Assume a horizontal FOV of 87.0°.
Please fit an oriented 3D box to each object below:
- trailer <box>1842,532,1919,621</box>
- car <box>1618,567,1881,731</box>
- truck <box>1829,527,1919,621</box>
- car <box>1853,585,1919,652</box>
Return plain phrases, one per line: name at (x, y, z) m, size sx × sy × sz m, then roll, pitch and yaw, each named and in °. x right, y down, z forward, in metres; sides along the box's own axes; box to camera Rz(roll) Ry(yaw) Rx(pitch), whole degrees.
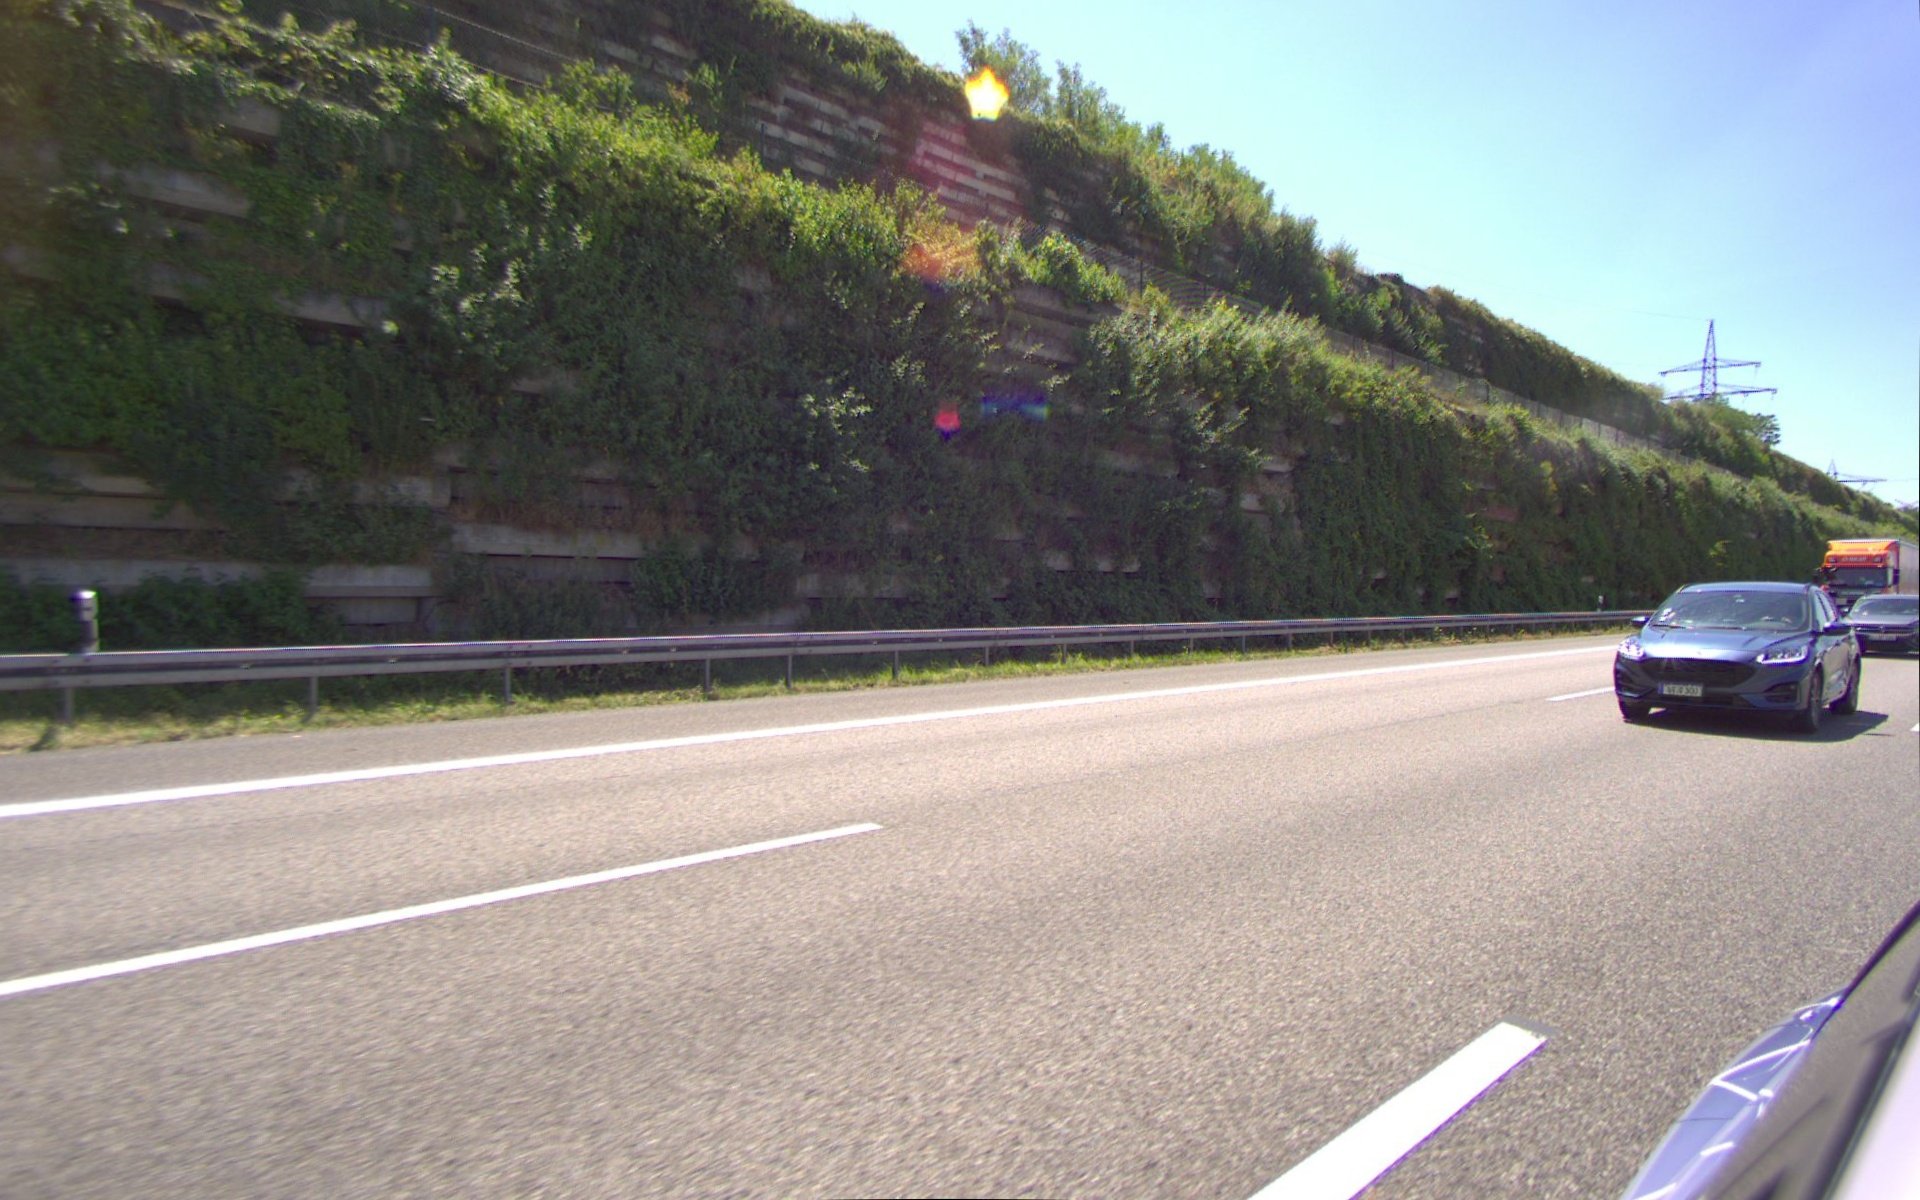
trailer at (47.761, -1.136, 51.542) m, size 13.371 × 4.055 × 2.649 m, roll 0°, pitch 1°, yaw -42°
car at (9.715, 0.465, 12.342) m, size 4.066 × 1.674 × 1.797 m, roll 0°, pitch 1°, yaw -41°
truck at (42.559, -1.167, 46.871) m, size 6.414 × 4.042 × 2.622 m, roll 0°, pitch 1°, yaw -42°
car at (23.946, 0.424, 25.462) m, size 3.927 × 1.544 × 1.752 m, roll 0°, pitch 2°, yaw -42°
